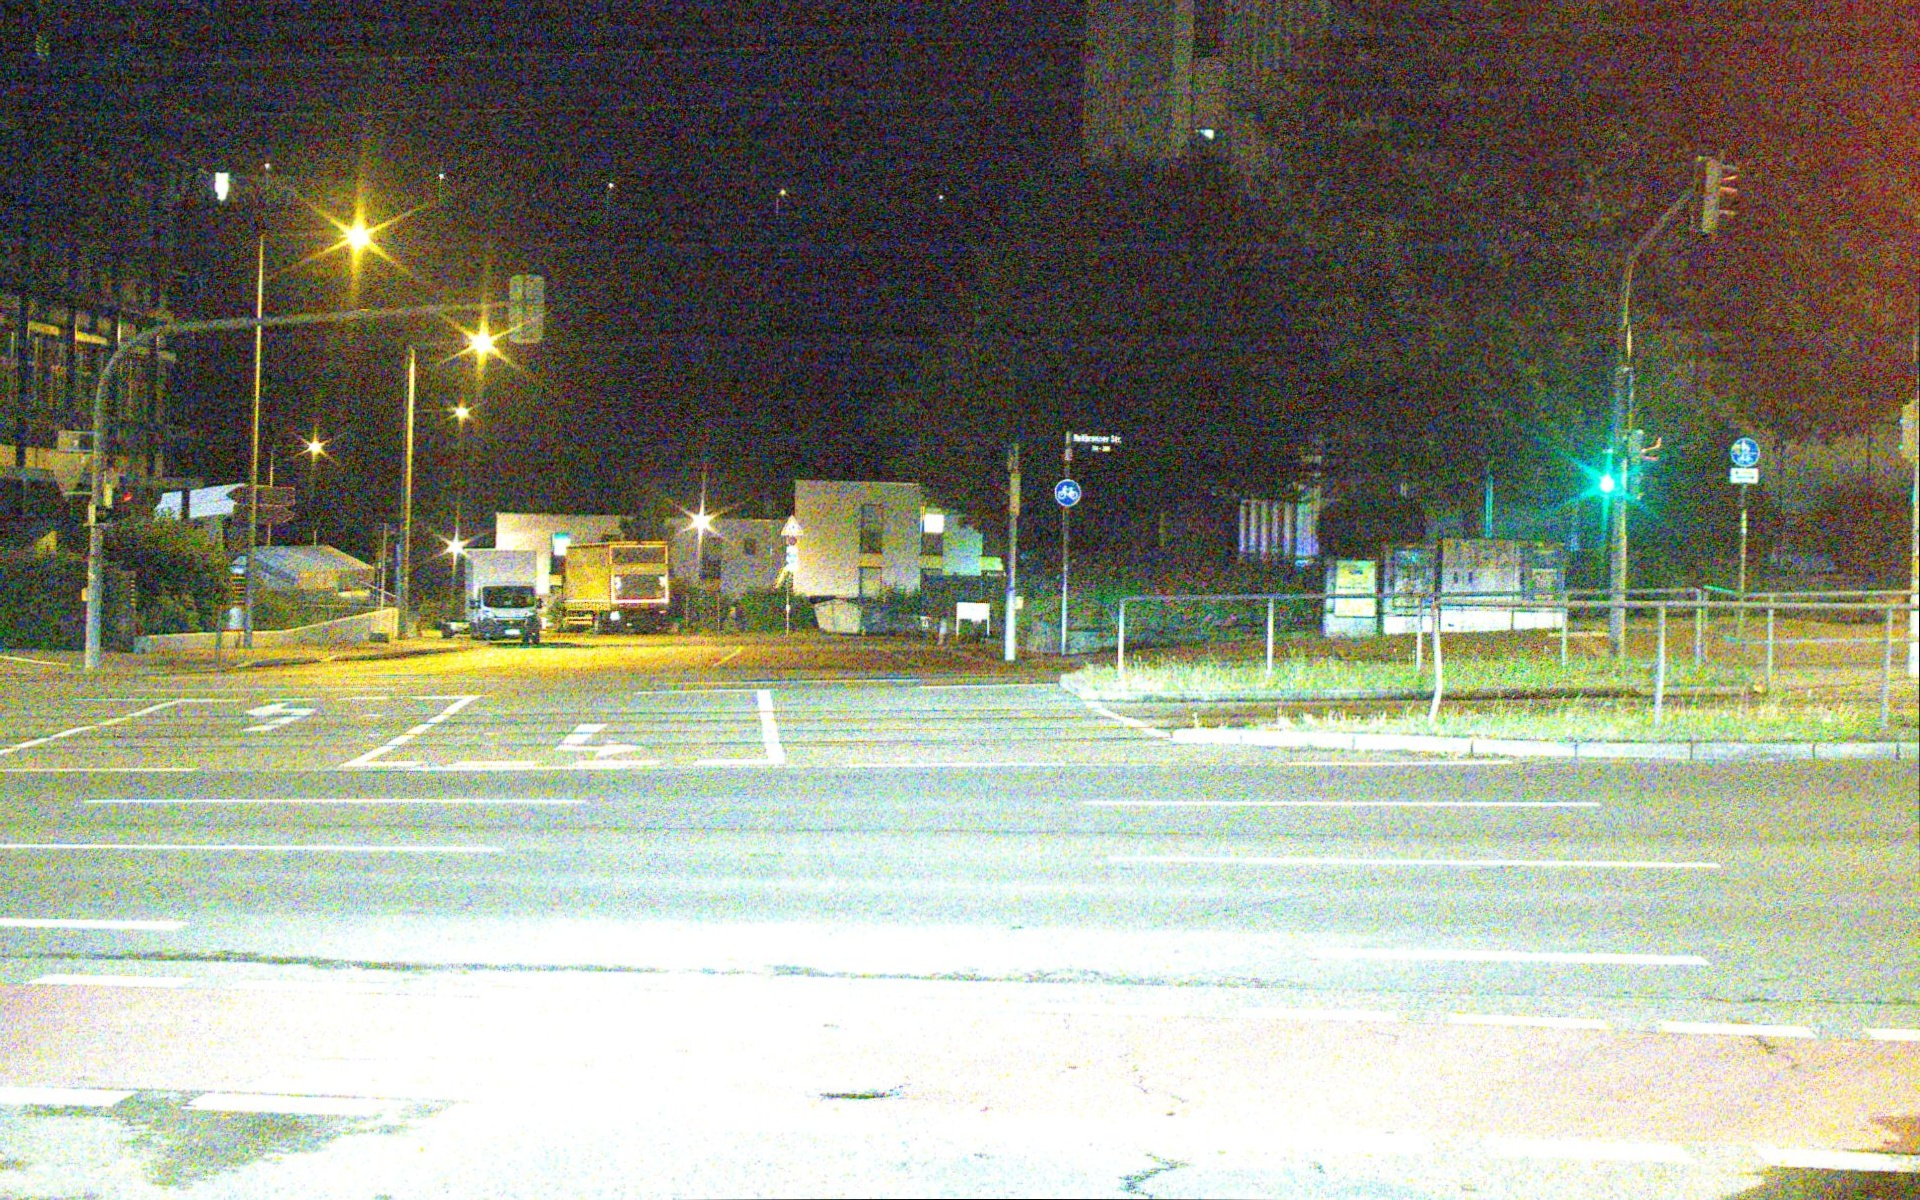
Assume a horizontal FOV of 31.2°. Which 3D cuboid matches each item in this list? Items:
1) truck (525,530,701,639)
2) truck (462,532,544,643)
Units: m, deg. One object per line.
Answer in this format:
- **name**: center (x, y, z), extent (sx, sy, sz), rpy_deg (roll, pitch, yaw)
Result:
- **truck**: center (-15.387, -0.743, 151.133), extent (4.821, 4.531, 12.669), rpy_deg (1, 1, -19)
- **truck**: center (-15.886, -0.454, 119.260), extent (2.582, 3.694, 5.739), rpy_deg (1, 1, -9)
